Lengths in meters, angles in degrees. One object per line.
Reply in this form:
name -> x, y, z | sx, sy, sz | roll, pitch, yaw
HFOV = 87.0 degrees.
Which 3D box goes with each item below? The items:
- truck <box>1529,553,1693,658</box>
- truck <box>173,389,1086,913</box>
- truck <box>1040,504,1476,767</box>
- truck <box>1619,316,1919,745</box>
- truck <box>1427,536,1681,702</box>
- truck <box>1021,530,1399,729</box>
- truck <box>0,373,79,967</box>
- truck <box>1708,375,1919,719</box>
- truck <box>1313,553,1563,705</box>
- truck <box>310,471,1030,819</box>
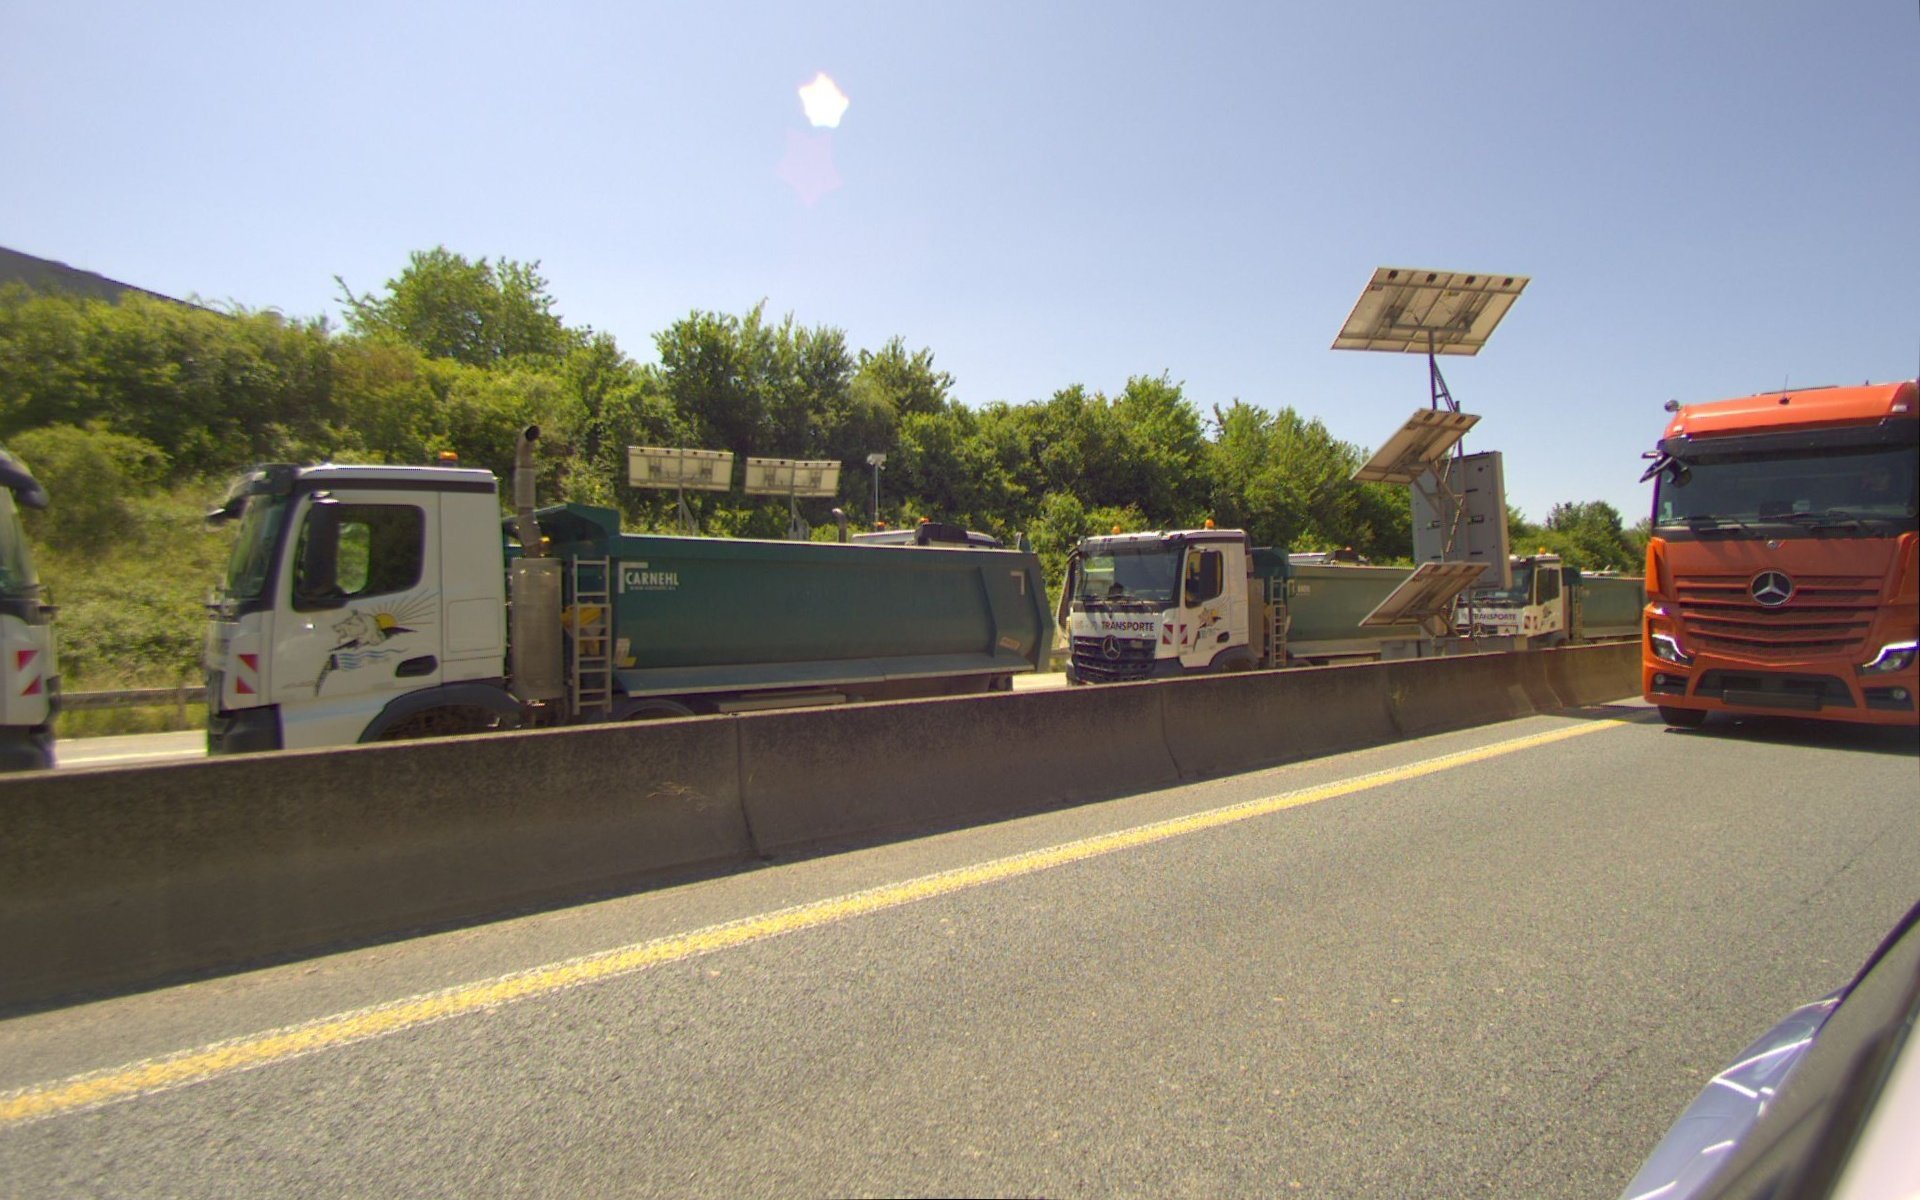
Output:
truck -> 25.146, 0.176, 38.828 | 9.433, 3.602, 2.692 | 0, 0, -40
truck -> -2.694, 0.330, 11.023 | 9.163, 3.602, 2.691 | 0, 0, -41
truck -> 5.665, 0.465, 17.836 | 9.238, 3.602, 2.692 | 0, 0, -40
truck -> 10.908, -0.645, 12.545 | 6.604, 4.061, 2.688 | 0, -1, -39
truck -> 15.553, 0.387, 26.075 | 9.433, 3.602, 2.692 | 0, 0, -40
truck -> 5.649, 0.484, 21.414 | 9.431, 3.421, 2.693 | 0, 0, -40
truck -> -9.878, 0.441, 4.344 | 9.163, 3.602, 2.691 | 0, 0, -41
truck -> 15.905, -0.652, 16.675 | 12.983, 4.061, 2.687 | 0, 0, -40
truck -> 13.556, 0.666, 28.182 | 9.434, 3.602, 2.692 | 0, 0, -41
truck -> -3.289, 0.424, 14.096 | 9.436, 3.421, 2.691 | 0, 0, -42
